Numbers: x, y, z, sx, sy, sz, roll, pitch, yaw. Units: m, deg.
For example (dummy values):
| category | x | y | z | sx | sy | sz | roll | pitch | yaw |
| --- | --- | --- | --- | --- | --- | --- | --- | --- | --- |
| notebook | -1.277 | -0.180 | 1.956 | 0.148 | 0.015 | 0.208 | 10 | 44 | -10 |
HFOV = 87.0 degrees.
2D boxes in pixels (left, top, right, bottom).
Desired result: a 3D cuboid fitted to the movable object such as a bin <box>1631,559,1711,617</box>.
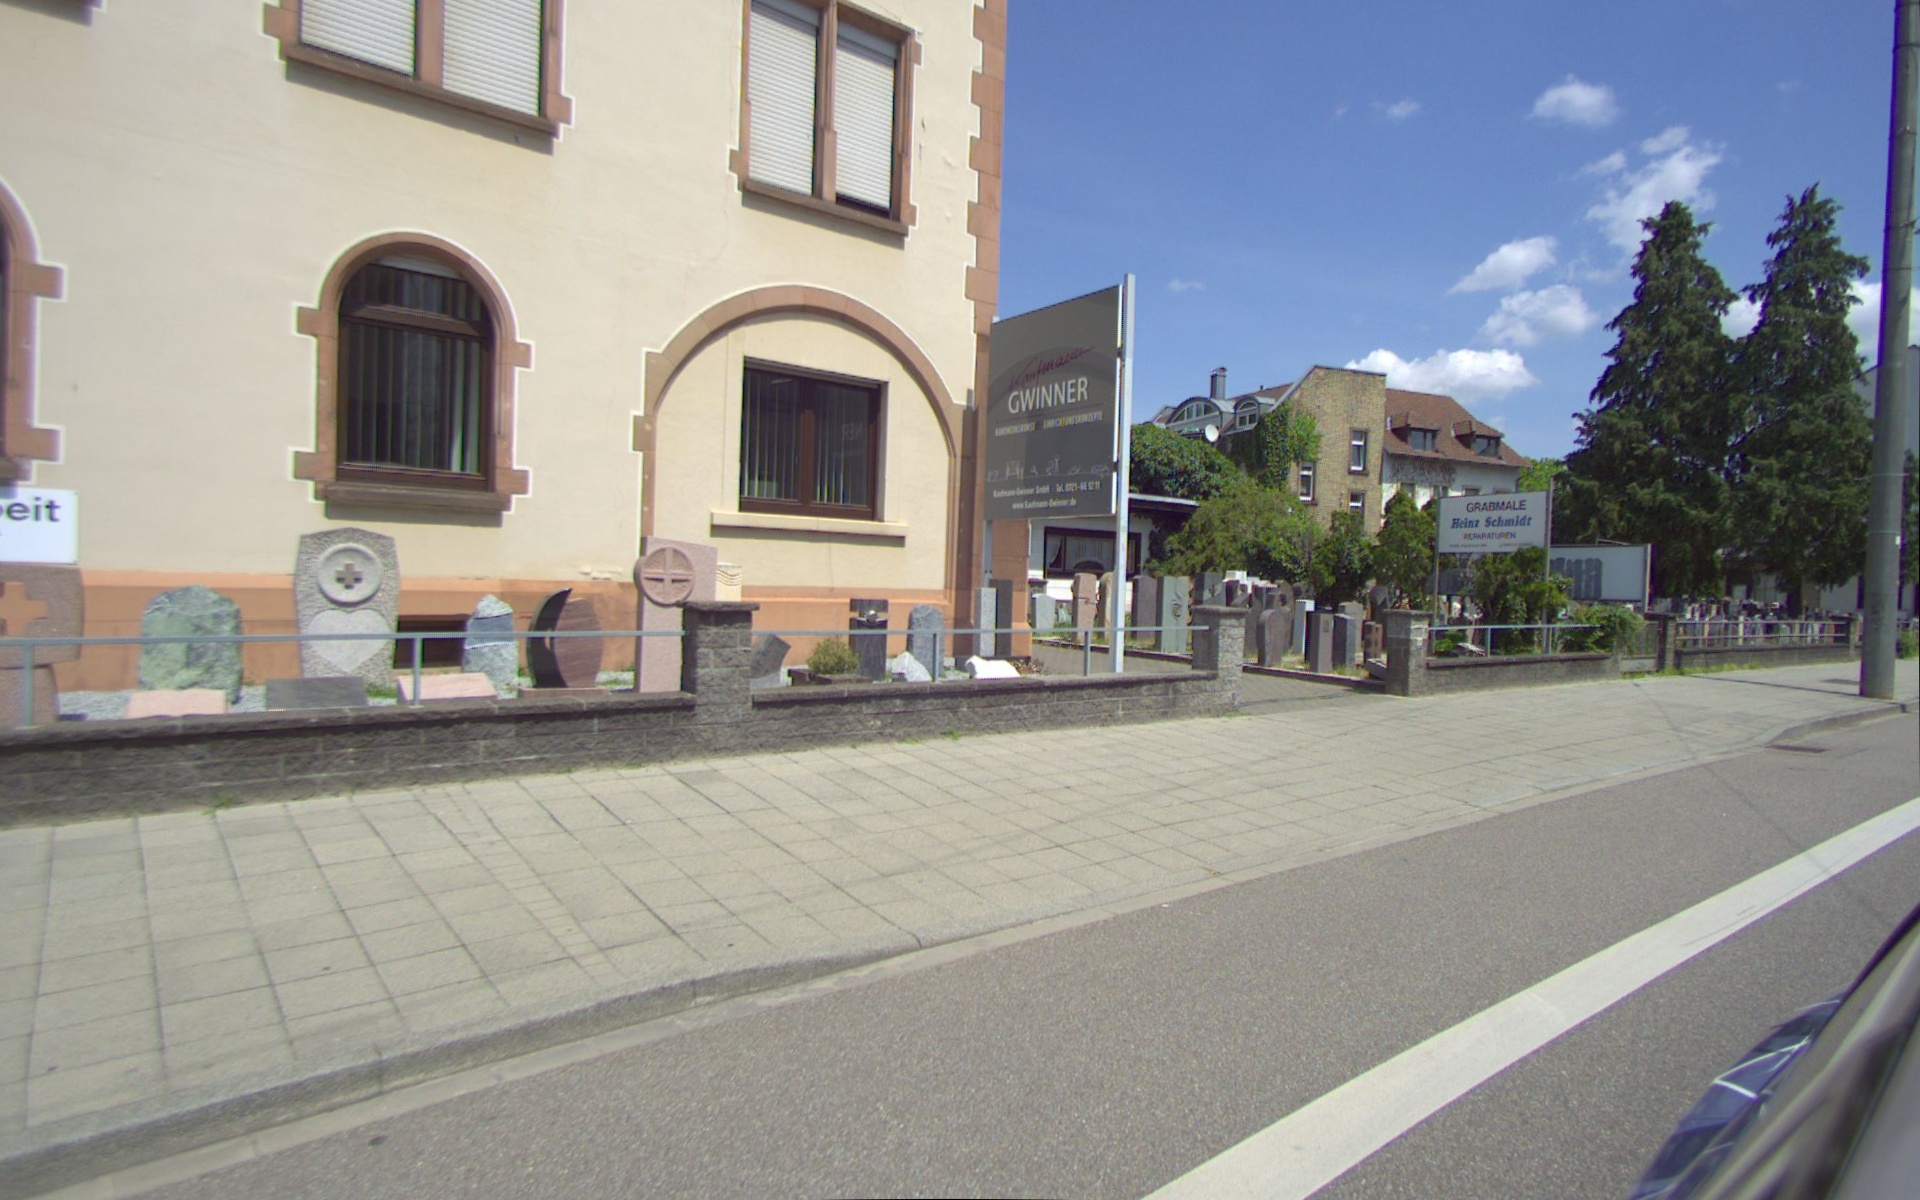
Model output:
| category | x | y | z | sx | sy | sz | roll | pitch | yaw |
| --- | --- | --- | --- | --- | --- | --- | --- | --- | --- |
| movable object such as a bin | 34.633 | -0.578 | 49.293 | 3.734 | 2.650 | 1.748 | 0 | 4 | -32 |
